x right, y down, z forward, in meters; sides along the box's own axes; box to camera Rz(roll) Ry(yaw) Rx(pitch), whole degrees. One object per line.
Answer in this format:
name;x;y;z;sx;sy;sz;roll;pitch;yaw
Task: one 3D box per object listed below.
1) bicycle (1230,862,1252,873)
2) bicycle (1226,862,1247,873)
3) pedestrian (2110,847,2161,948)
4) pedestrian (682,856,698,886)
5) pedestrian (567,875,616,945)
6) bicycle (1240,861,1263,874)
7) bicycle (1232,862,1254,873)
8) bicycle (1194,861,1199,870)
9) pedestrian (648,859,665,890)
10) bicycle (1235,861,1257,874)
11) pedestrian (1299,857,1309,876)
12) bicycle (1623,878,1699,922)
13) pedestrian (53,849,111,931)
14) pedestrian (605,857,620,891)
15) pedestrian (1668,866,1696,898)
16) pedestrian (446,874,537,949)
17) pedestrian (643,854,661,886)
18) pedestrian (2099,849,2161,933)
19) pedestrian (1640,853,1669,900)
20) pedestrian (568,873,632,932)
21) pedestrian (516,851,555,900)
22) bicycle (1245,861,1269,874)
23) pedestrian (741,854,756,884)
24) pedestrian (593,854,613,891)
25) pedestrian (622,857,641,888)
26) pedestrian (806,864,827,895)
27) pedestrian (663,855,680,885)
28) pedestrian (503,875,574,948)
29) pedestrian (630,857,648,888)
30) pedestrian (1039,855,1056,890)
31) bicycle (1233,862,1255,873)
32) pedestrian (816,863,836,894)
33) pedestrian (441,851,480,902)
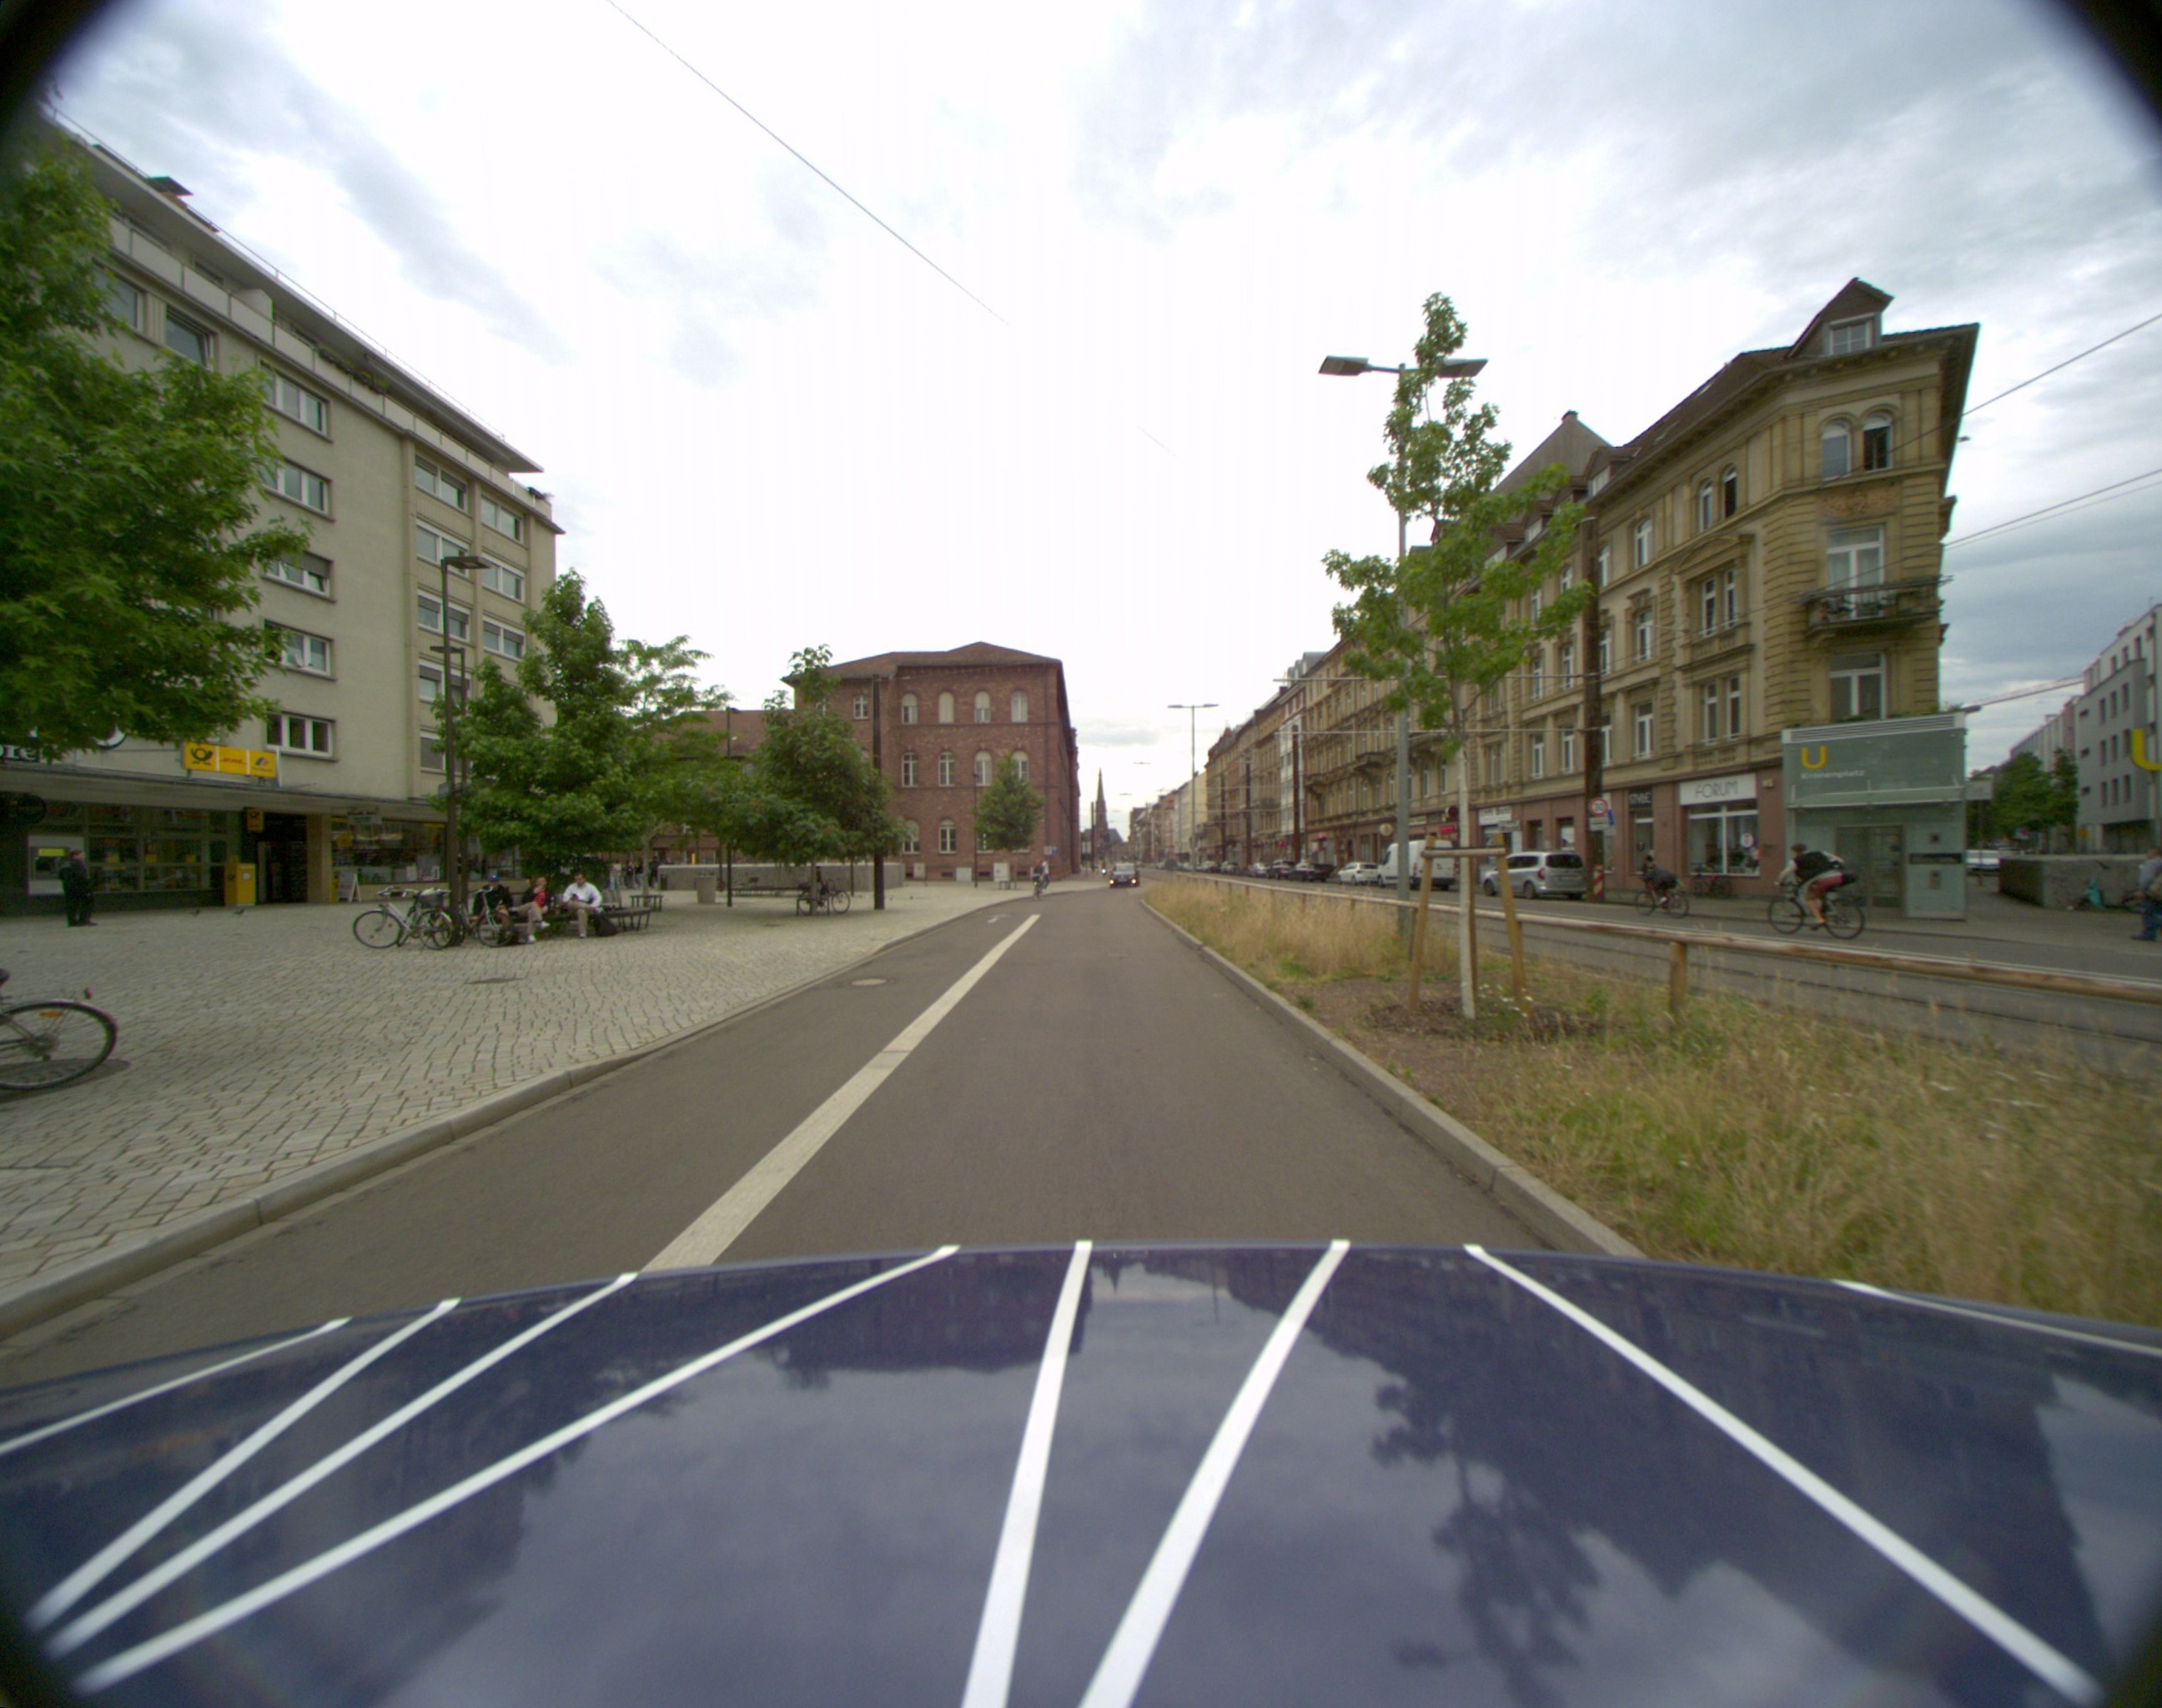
bicycle;18.059;1.512;85.864;2.287;1.196;0.705;1;0;1
bicycle;17.849;1.507;87.166;2.287;1.196;0.705;1;0;1
pedestrian;18.532;0.730;12.992;0.823;1.677;0.723;0;2;18
pedestrian;-22.014;0.972;42.823;0.513;1.660;0.593;-1;-1;21
pedestrian;-9.996;1.126;15.534;0.630;1.358;0.686;-2;0;-18
bicycle;17.841;1.425;79.470;2.287;1.321;0.666;1;0;1
bicycle;18.094;1.496;85.087;2.287;1.196;0.666;1;0;1
bicycle;16.134;1.602;106.145;0.586;1.167;2.045;1;0;2
pedestrian;-22.975;1.104;41.095;0.513;1.660;0.593;-1;-1;22
bicycle;18.075;1.456;83.120;2.287;1.321;0.666;1;0;1
pedestrian;20.594;1.144;70.185;0.653;1.772;0.787;-2;0;37
bicycle;14.847;1.145;19.517;0.480;1.015;1.912;0;0;-1
pedestrian;-21.891;0.772;16.666;0.773;1.741;0.719;1;0;39
pedestrian;-22.337;0.948;36.243;0.593;1.576;0.642;0;-1;-32
pedestrian;19.818;0.937;25.074;0.554;1.025;0.453;-2;0;9
pedestrian;-11.535;1.108;14.918;0.543;1.358;1.282;-2;0;18
pedestrian;-25.460;0.934;45.106;0.664;1.878;0.534;-2;0;-3
pedestrian;21.764;0.748;15.623;0.661;1.677;0.723;0;2;16
pedestrian;19.242;0.735;25.490;0.554;1.547;0.658;-2;0;18
pedestrian;-11.875;1.166;18.810;0.629;1.358;1.409;-2;0;0
pedestrian;-19.926;0.783;27.771;0.773;1.762;1.066;0;0;-10
bicycle;17.768;1.346;76.839;2.287;1.321;0.666;1;0;1
pedestrian;-18.551;0.839;42.391;0.513;1.660;0.593;-1;-1;24
pedestrian;-22.797;0.874;36.236;0.590;1.757;0.645;-1;-1;37
pedestrian;-24.074;0.997;40.695;0.642;1.660;0.592;-1;-1;16
pedestrian;-12.414;1.199;35.688;0.781;1.447;0.766;1;0;-29
pedestrian;-24.665;0.976;45.799;0.664;1.747;0.631;-2;0;-8
pedestrian;-10.746;1.125;15.073;0.628;1.358;0.920;-2;0;18
pedestrian;-24.108;1.012;41.448;0.642;1.660;0.593;-1;-1;21
pedestrian;-1.830;0.983;41.317;0.871;1.890;0.773;0;0;0
bicycle;18.087;1.483;84.373;2.287;1.196;0.666;1;0;1
pedestrian;-12.327;1.181;36.698;0.781;1.447;0.766;1;0;-29
pedestrian;-23.266;0.826;28.498;0.773;1.890;1.065;0;0;-17
